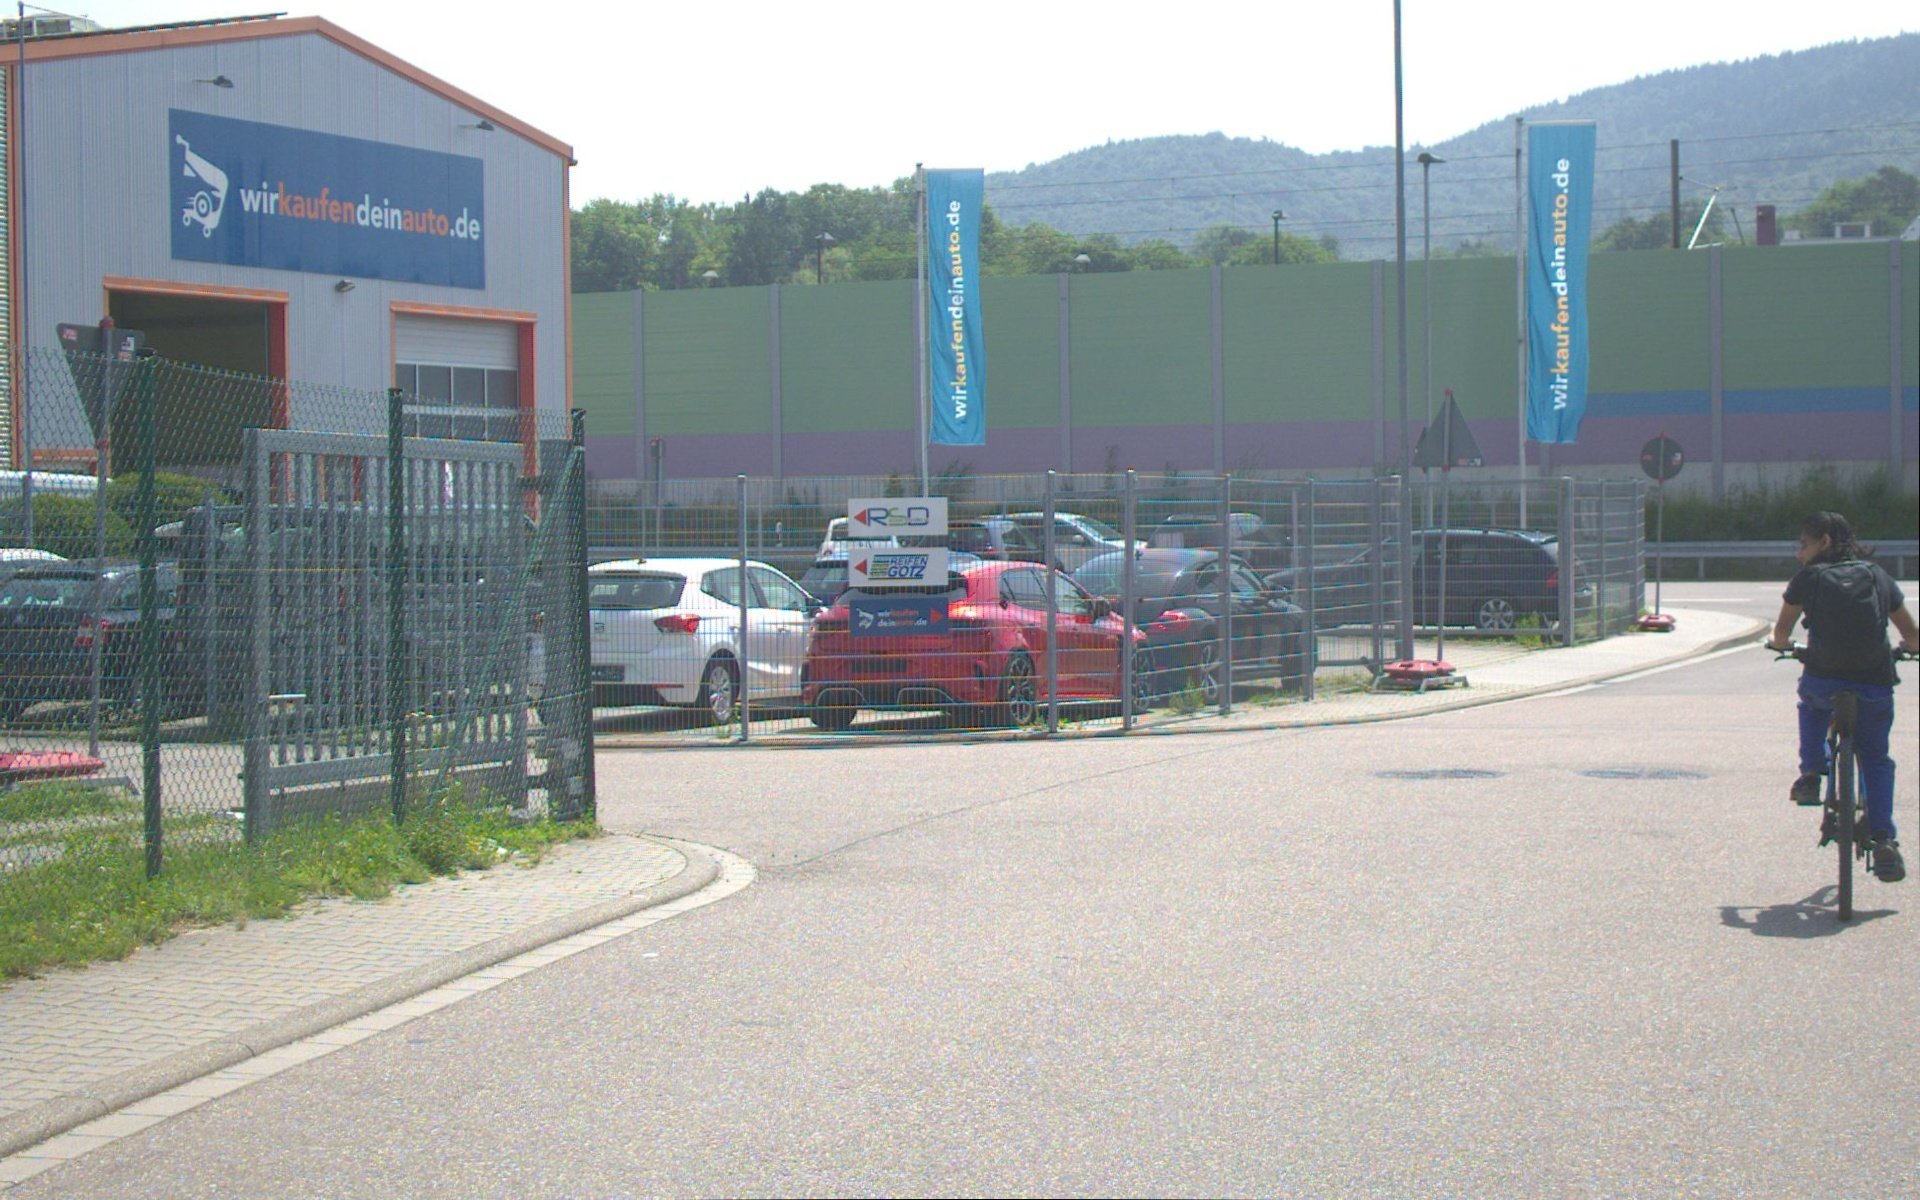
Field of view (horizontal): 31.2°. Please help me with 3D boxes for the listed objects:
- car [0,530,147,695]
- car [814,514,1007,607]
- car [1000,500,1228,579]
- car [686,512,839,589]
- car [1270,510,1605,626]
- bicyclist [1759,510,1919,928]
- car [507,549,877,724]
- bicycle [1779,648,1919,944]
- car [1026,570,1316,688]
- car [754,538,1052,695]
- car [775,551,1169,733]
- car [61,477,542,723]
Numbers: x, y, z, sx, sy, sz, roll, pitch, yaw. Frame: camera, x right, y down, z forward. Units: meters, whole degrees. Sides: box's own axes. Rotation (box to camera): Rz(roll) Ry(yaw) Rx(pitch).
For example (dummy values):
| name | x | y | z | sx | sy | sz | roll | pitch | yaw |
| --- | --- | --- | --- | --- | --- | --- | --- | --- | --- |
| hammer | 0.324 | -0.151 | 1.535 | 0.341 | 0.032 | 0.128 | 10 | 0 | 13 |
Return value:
| name | x | y | z | sx | sy | sz | roll | pitch | yaw |
| --- | --- | --- | --- | --- | --- | --- | --- | --- | --- |
| car | -9.571 | 0.117 | 33.098 | 1.505 | 1.534 | 3.599 | 0 | 2 | 24 |
| car | -0.838 | -0.726 | 61.210 | 1.996 | 1.576 | 3.996 | 0 | 2 | 23 |
| car | 3.014 | -1.179 | 67.133 | 3.992 | 1.487 | 1.998 | 0 | 2 | 25 |
| car | -4.411 | -1.127 | 77.162 | 1.701 | 1.651 | 3.995 | 0 | 2 | 26 |
| car | 6.385 | -0.440 | 46.015 | 3.993 | 1.487 | 1.997 | 0 | 2 | 28 |
| bicyclist | 3.656 | 0.454 | 13.804 | 0.843 | 1.613 | 1.039 | 1 | 0 | 12 |
| car | -2.308 | 0.276 | 30.491 | 1.748 | 1.400 | 3.599 | 0 | 2 | 24 |
| bicycle | 3.653 | 0.748 | 13.849 | 0.685 | 1.048 | 1.900 | 0 | 1 | 13 |
| car | 2.135 | 0.246 | 33.736 | 1.485 | 1.003 | 4.108 | 0 | 2 | 24 |
| car | -0.509 | 0.122 | 34.727 | 1.485 | 1.449 | 3.889 | 0 | 2 | 24 |
| car | 0.191 | 0.308 | 29.546 | 1.872 | 1.382 | 4.108 | 0 | 2 | 24 |
| car | -5.754 | -0.064 | 30.648 | 1.953 | 2.023 | 4.512 | 0 | 2 | 24 |
